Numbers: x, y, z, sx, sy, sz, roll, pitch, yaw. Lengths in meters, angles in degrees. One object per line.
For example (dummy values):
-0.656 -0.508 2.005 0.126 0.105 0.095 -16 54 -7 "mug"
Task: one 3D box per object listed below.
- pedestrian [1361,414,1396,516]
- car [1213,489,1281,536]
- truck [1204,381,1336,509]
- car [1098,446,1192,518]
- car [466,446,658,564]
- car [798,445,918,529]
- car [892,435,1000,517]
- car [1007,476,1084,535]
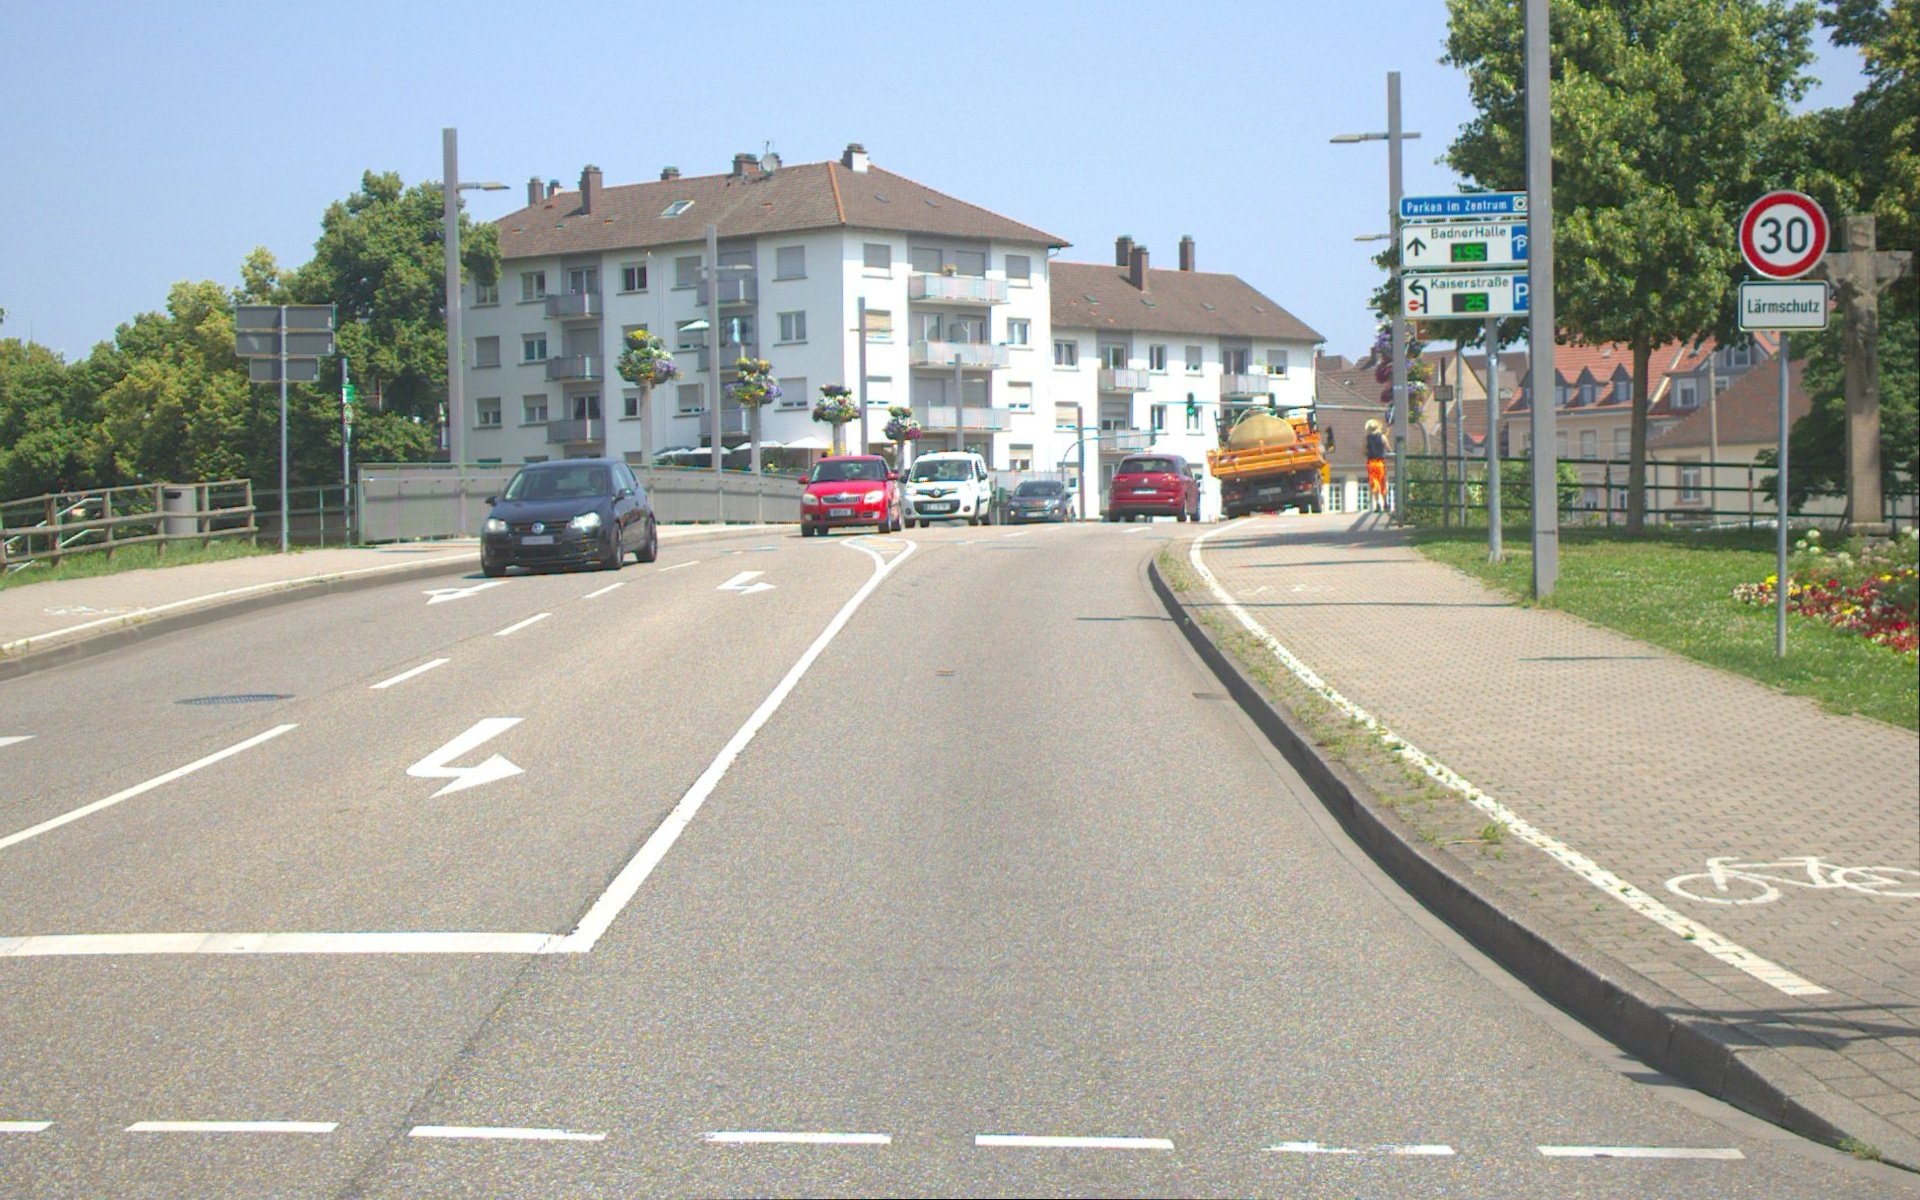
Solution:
8.079 -2.607 66.382 0.546 1.953 0.673 -1 1 -3 "pedestrian"
9.408 -2.856 112.471 2.038 1.498 4.416 1 1 7 "car"
6.974 -3.408 76.646 2.606 2.682 5.822 -1 2 8 "truck"
4.410 -2.794 81.539 1.990 1.607 4.342 -1 1 6 "car"
-5.207 -1.234 45.431 1.714 1.480 4.031 1 1 5 "car"
-1.859 -2.077 63.941 1.647 1.459 3.860 0 1 7 "car"
-0.300 -3.004 82.876 1.837 1.853 4.662 -2 2 9 "car"
2.566 -2.833 102.448 1.737 1.635 3.920 -3 2 8 "car"
